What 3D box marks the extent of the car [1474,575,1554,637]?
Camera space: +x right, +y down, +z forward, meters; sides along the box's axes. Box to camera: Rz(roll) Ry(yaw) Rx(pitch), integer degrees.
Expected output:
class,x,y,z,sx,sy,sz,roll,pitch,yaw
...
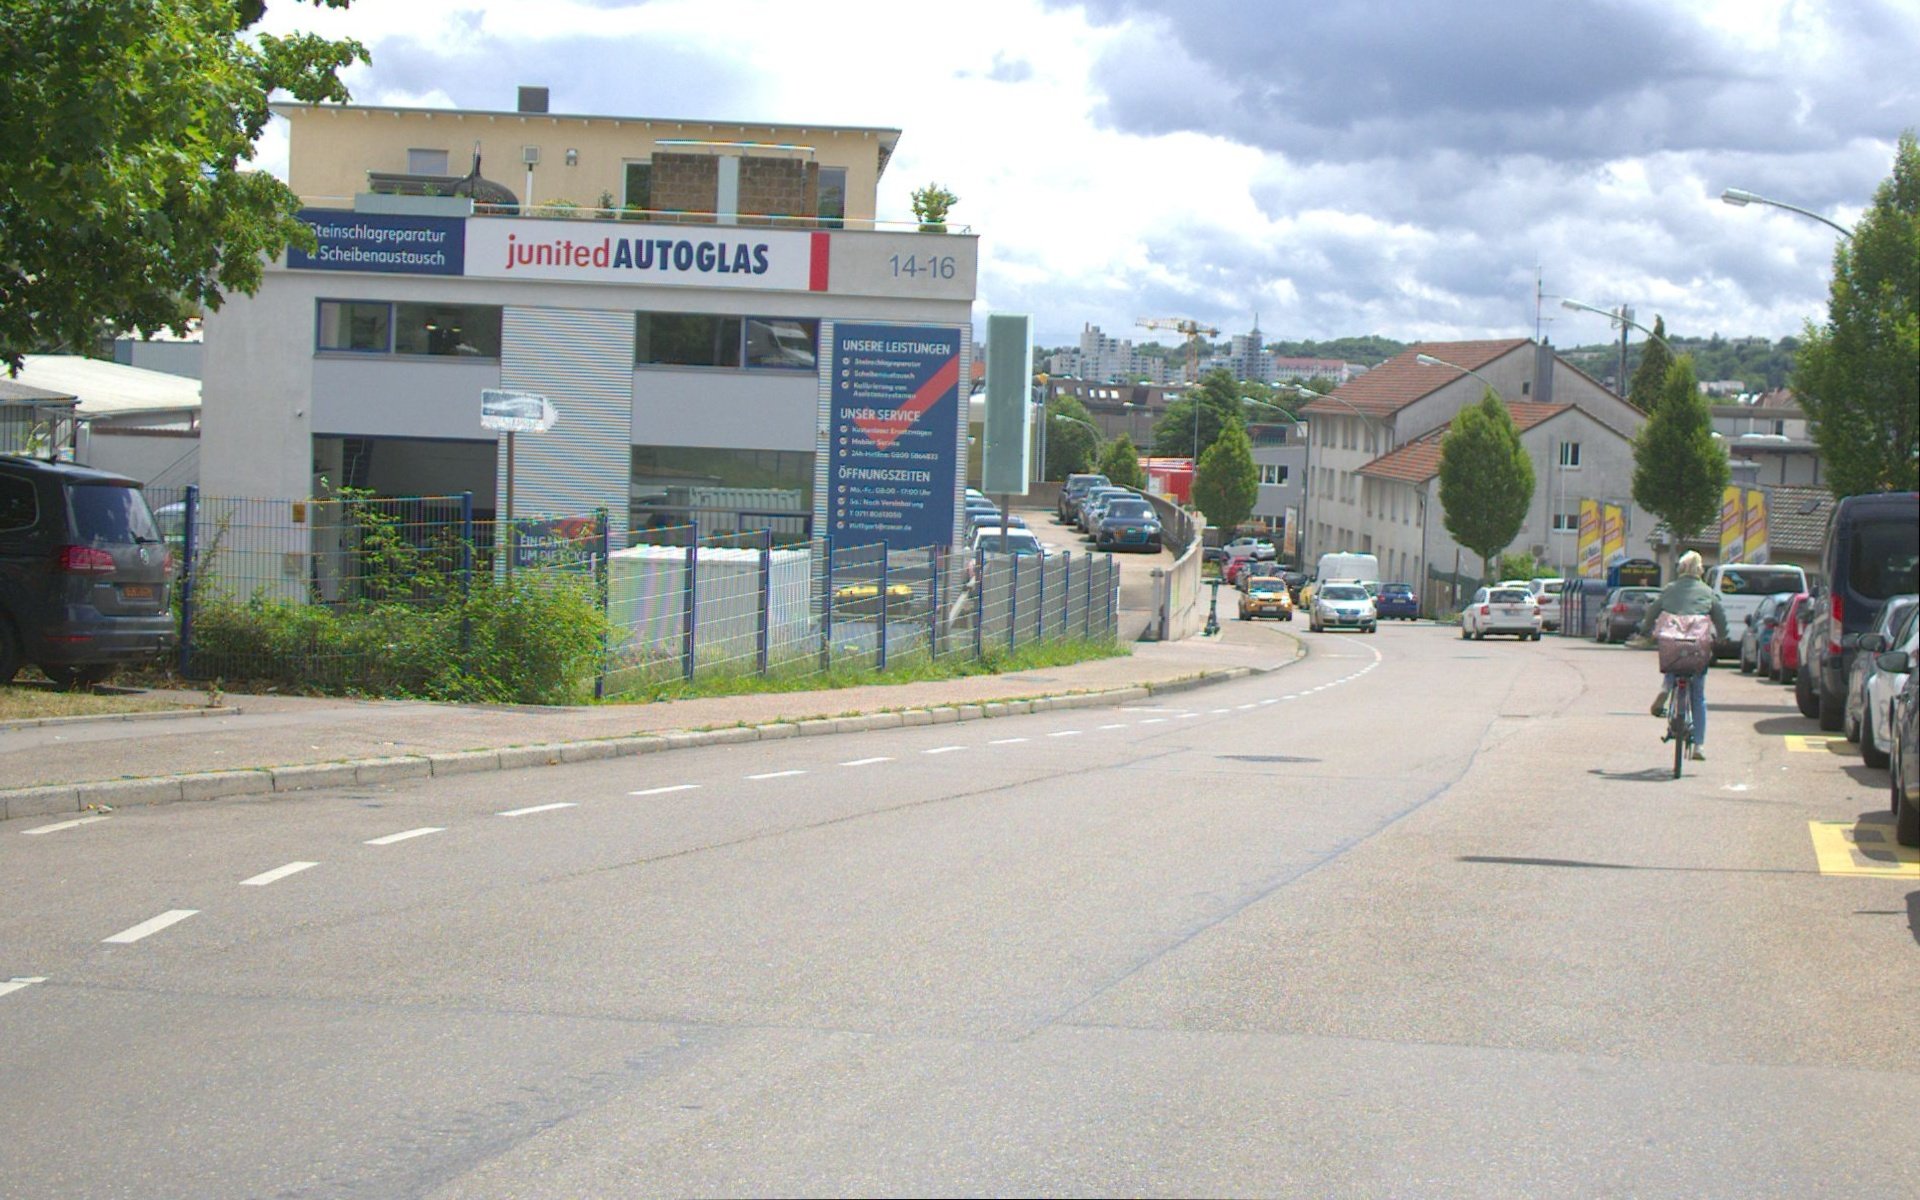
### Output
class,x,y,z,sx,sy,sz,roll,pitch,yaw
car,14.827,0.156,92.182,1.994,1.612,3.999,1,0,7

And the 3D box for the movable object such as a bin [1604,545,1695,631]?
class,x,y,z,sx,sy,sz,roll,pitch,yaw
movable object such as a bin,18.859,-0.324,94.167,2.134,2.295,2.557,1,0,5

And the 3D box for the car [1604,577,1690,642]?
class,x,y,z,sx,sy,sz,roll,pitch,yaw
car,17.827,0.236,89.356,1.994,1.612,3.999,1,0,9

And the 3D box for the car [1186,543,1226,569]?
class,x,y,z,sx,sy,sz,roll,pitch,yaw
car,14.159,-2.530,198.014,1.993,1.415,4.000,1,0,0

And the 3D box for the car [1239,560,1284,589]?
class,x,y,z,sx,sy,sz,roll,pitch,yaw
car,15.359,-1.290,175.379,1.993,1.459,4.000,1,0,1

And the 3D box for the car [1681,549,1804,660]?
class,x,y,z,sx,sy,sz,roll,pitch,yaw
car,15.263,0.077,67.268,1.994,2.007,4.916,3,1,10

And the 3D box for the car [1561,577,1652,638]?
class,x,y,z,sx,sy,sz,roll,pitch,yaw
car,18.551,0.200,98.844,2.134,1.700,3.999,1,0,5

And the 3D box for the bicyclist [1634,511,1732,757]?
class,x,y,z,sx,sy,sz,roll,pitch,yaw
bicyclist,5.489,0.246,26.074,0.685,1.819,1.080,1,0,13

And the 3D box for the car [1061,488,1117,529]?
class,x,y,z,sx,sy,sz,roll,pitch,yaw
car,4.330,-3.106,116.152,1.670,1.319,3.719,1,2,-1

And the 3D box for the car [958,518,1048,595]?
class,x,y,z,sx,sy,sz,roll,pitch,yaw
car,0.915,-0.973,75.708,1.847,1.645,4.000,1,1,-1

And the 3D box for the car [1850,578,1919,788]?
class,x,y,z,sx,sy,sz,roll,pitch,yaw
car,7.929,0.630,26.632,1.706,1.474,3.956,4,1,11

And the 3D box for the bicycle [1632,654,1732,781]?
class,x,y,z,sx,sy,sz,roll,pitch,yaw
bicycle,5.498,0.873,26.125,0.688,0.875,2.100,1,0,13

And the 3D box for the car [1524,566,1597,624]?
class,x,y,z,sx,sy,sz,roll,pitch,yaw
car,18.207,-0.160,104.379,1.813,1.700,3.999,1,0,5

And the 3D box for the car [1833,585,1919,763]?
class,x,y,z,sx,sy,sz,roll,pitch,yaw
car,9.101,0.679,31.967,1.706,1.505,3.694,4,1,12

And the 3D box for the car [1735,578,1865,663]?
class,x,y,z,sx,sy,sz,roll,pitch,yaw
car,14.730,0.346,60.422,1.904,1.437,3.542,1,0,9

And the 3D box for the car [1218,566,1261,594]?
class,x,y,z,sx,sy,sz,roll,pitch,yaw
car,14.783,-1.050,182.038,1.993,1.459,4.000,1,0,1

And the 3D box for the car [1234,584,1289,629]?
class,x,y,z,sx,sy,sz,roll,pitch,yaw
car,10.656,0.224,121.773,1.708,1.568,4.000,1,0,2

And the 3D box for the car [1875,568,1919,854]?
class,x,y,z,sx,sy,sz,roll,pitch,yaw
car,6.348,0.612,20.001,1.706,1.482,4.570,4,1,12

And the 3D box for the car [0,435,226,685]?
class,x,y,z,sx,sy,sz,roll,pitch,yaw
car,-8.132,-0.395,25.622,4.701,1.710,1.999,4,0,12

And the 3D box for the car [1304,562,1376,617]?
class,x,y,z,sx,sy,sz,roll,pitch,yaw
car,11.237,-0.304,101.870,1.702,1.556,4.327,1,0,1

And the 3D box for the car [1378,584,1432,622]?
class,x,y,z,sx,sy,sz,roll,pitch,yaw
car,17.727,0.120,137.075,1.994,1.459,3.999,1,0,5

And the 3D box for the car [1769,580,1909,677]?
class,x,y,z,sx,sy,sz,roll,pitch,yaw
car,14.228,0.441,55.823,1.876,1.503,3.998,1,0,10

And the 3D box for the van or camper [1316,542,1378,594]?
class,x,y,z,sx,sy,sz,roll,pitch,yaw
van or camper,16.474,-1.381,146.634,1.993,2.007,4.000,4,1,-1

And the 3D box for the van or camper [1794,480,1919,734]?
class,x,y,z,sx,sy,sz,roll,pitch,yaw
van or camper,10.455,0.080,38.152,2.126,2.576,5.913,2,1,13

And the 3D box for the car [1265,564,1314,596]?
class,x,y,z,sx,sy,sz,roll,pitch,yaw
car,15.709,-0.942,163.936,1.993,1.459,4.000,1,0,1

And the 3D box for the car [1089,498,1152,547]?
class,x,y,z,sx,sy,sz,roll,pitch,yaw
car,4.544,-2.219,97.951,1.670,1.319,3.718,2,1,1
